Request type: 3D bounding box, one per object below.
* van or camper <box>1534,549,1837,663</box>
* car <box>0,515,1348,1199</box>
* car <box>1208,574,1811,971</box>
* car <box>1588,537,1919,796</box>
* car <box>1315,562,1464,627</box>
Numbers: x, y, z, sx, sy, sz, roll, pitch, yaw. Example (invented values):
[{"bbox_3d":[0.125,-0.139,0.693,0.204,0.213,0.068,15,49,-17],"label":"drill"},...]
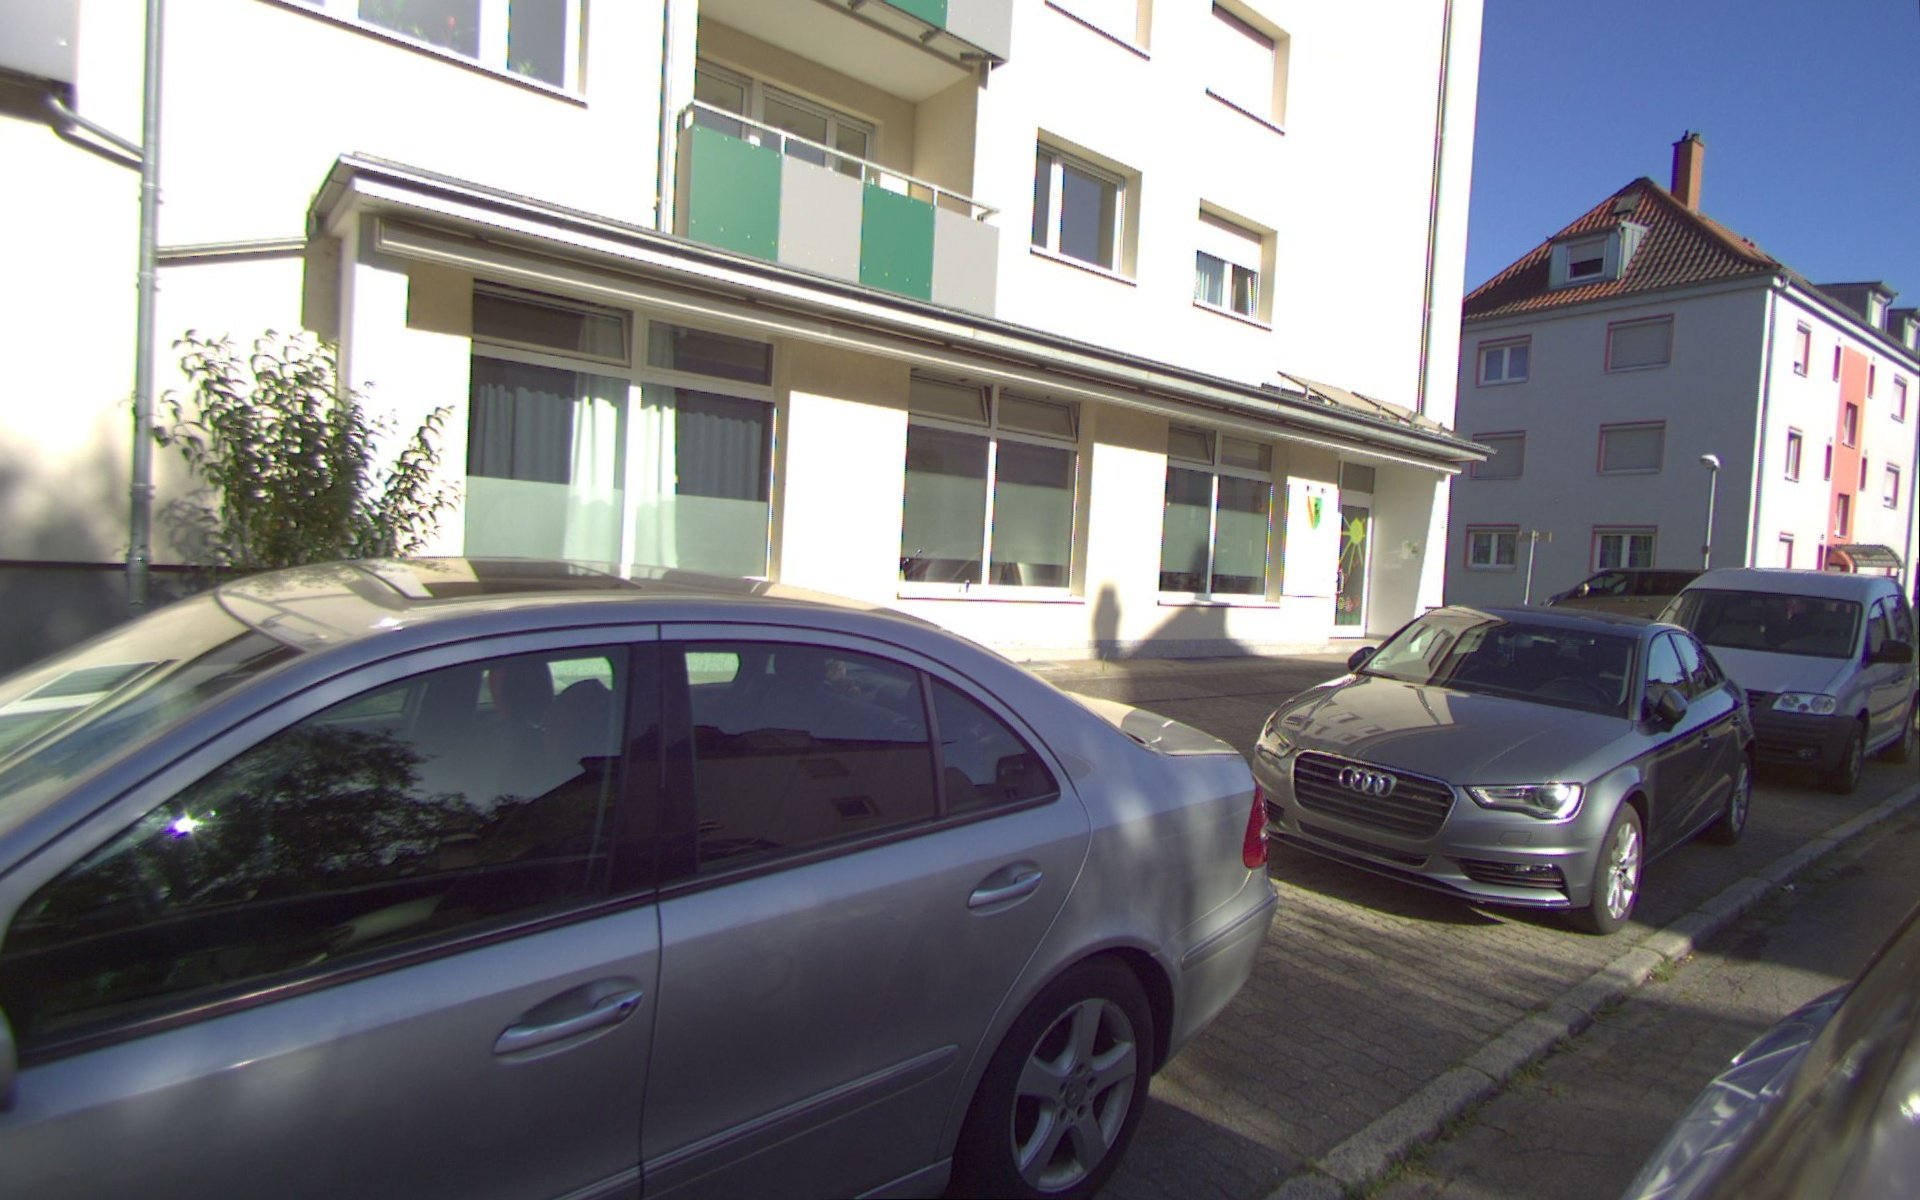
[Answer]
[{"bbox_3d":[16.314,0.055,23.048,1.963,2.038,5.141,4,2,-38],"label":"van or camper"},{"bbox_3d":[-1.185,0.608,2.091,4.641,1.465,1.681,0,2,-41],"label":"car"},{"bbox_3d":[3.534,0.687,6.055,4.467,1.423,1.682,1,5,-42],"label":"car"},{"bbox_3d":[7.738,0.490,9.509,4.057,1.845,1.753,1,5,-39],"label":"car"},{"bbox_3d":[12.216,-0.191,28.963,1.648,1.548,3.488,2,4,-35],"label":"car"}]
